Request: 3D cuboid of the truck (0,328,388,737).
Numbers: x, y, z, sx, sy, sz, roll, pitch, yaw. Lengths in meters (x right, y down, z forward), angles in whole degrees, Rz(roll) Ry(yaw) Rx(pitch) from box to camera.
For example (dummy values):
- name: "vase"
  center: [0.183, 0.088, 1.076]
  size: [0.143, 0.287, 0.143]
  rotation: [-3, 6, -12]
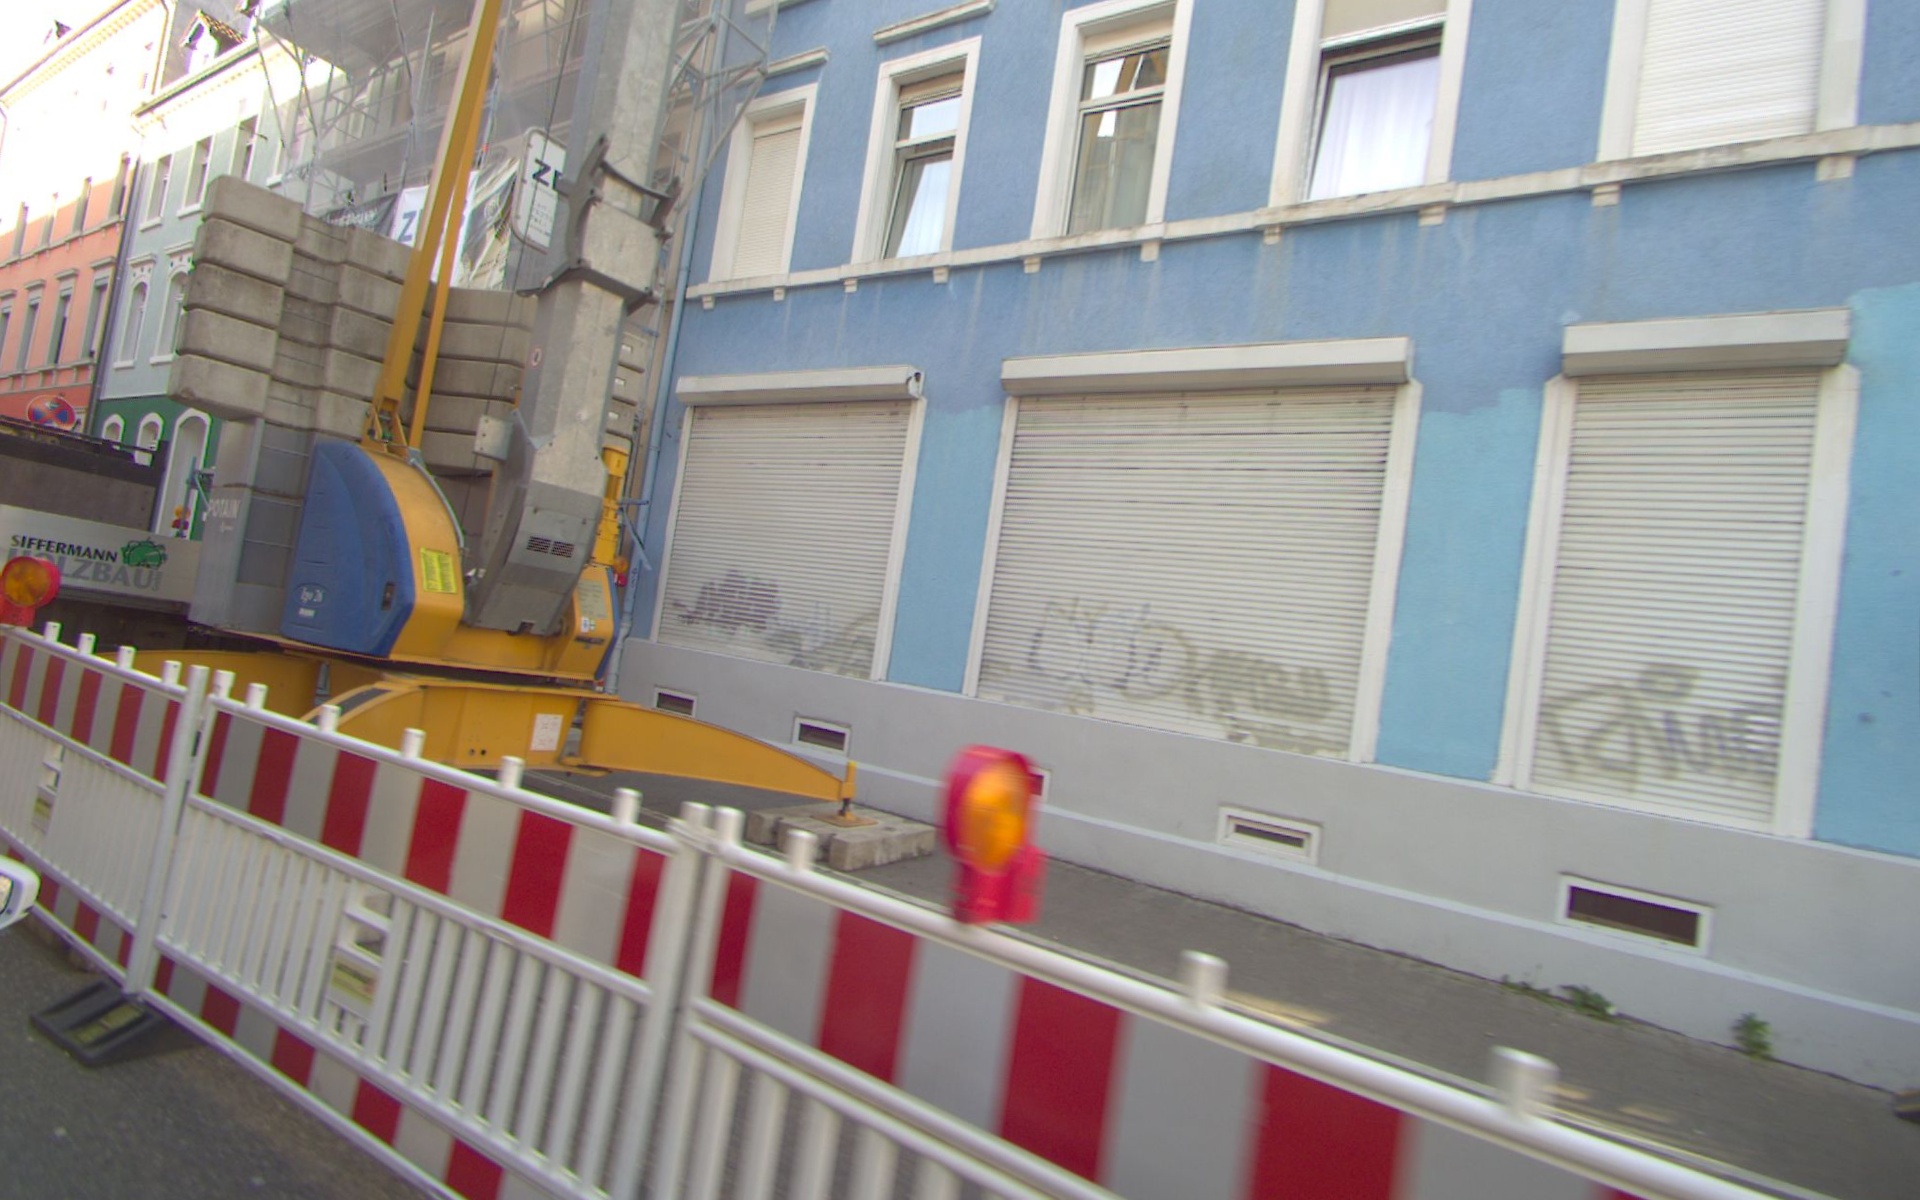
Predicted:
- name: "truck"
  center: [-9.359, -0.644, 10.481]
  size: [7.277, 2.841, 2.670]
  rotation: [6, -6, 35]
